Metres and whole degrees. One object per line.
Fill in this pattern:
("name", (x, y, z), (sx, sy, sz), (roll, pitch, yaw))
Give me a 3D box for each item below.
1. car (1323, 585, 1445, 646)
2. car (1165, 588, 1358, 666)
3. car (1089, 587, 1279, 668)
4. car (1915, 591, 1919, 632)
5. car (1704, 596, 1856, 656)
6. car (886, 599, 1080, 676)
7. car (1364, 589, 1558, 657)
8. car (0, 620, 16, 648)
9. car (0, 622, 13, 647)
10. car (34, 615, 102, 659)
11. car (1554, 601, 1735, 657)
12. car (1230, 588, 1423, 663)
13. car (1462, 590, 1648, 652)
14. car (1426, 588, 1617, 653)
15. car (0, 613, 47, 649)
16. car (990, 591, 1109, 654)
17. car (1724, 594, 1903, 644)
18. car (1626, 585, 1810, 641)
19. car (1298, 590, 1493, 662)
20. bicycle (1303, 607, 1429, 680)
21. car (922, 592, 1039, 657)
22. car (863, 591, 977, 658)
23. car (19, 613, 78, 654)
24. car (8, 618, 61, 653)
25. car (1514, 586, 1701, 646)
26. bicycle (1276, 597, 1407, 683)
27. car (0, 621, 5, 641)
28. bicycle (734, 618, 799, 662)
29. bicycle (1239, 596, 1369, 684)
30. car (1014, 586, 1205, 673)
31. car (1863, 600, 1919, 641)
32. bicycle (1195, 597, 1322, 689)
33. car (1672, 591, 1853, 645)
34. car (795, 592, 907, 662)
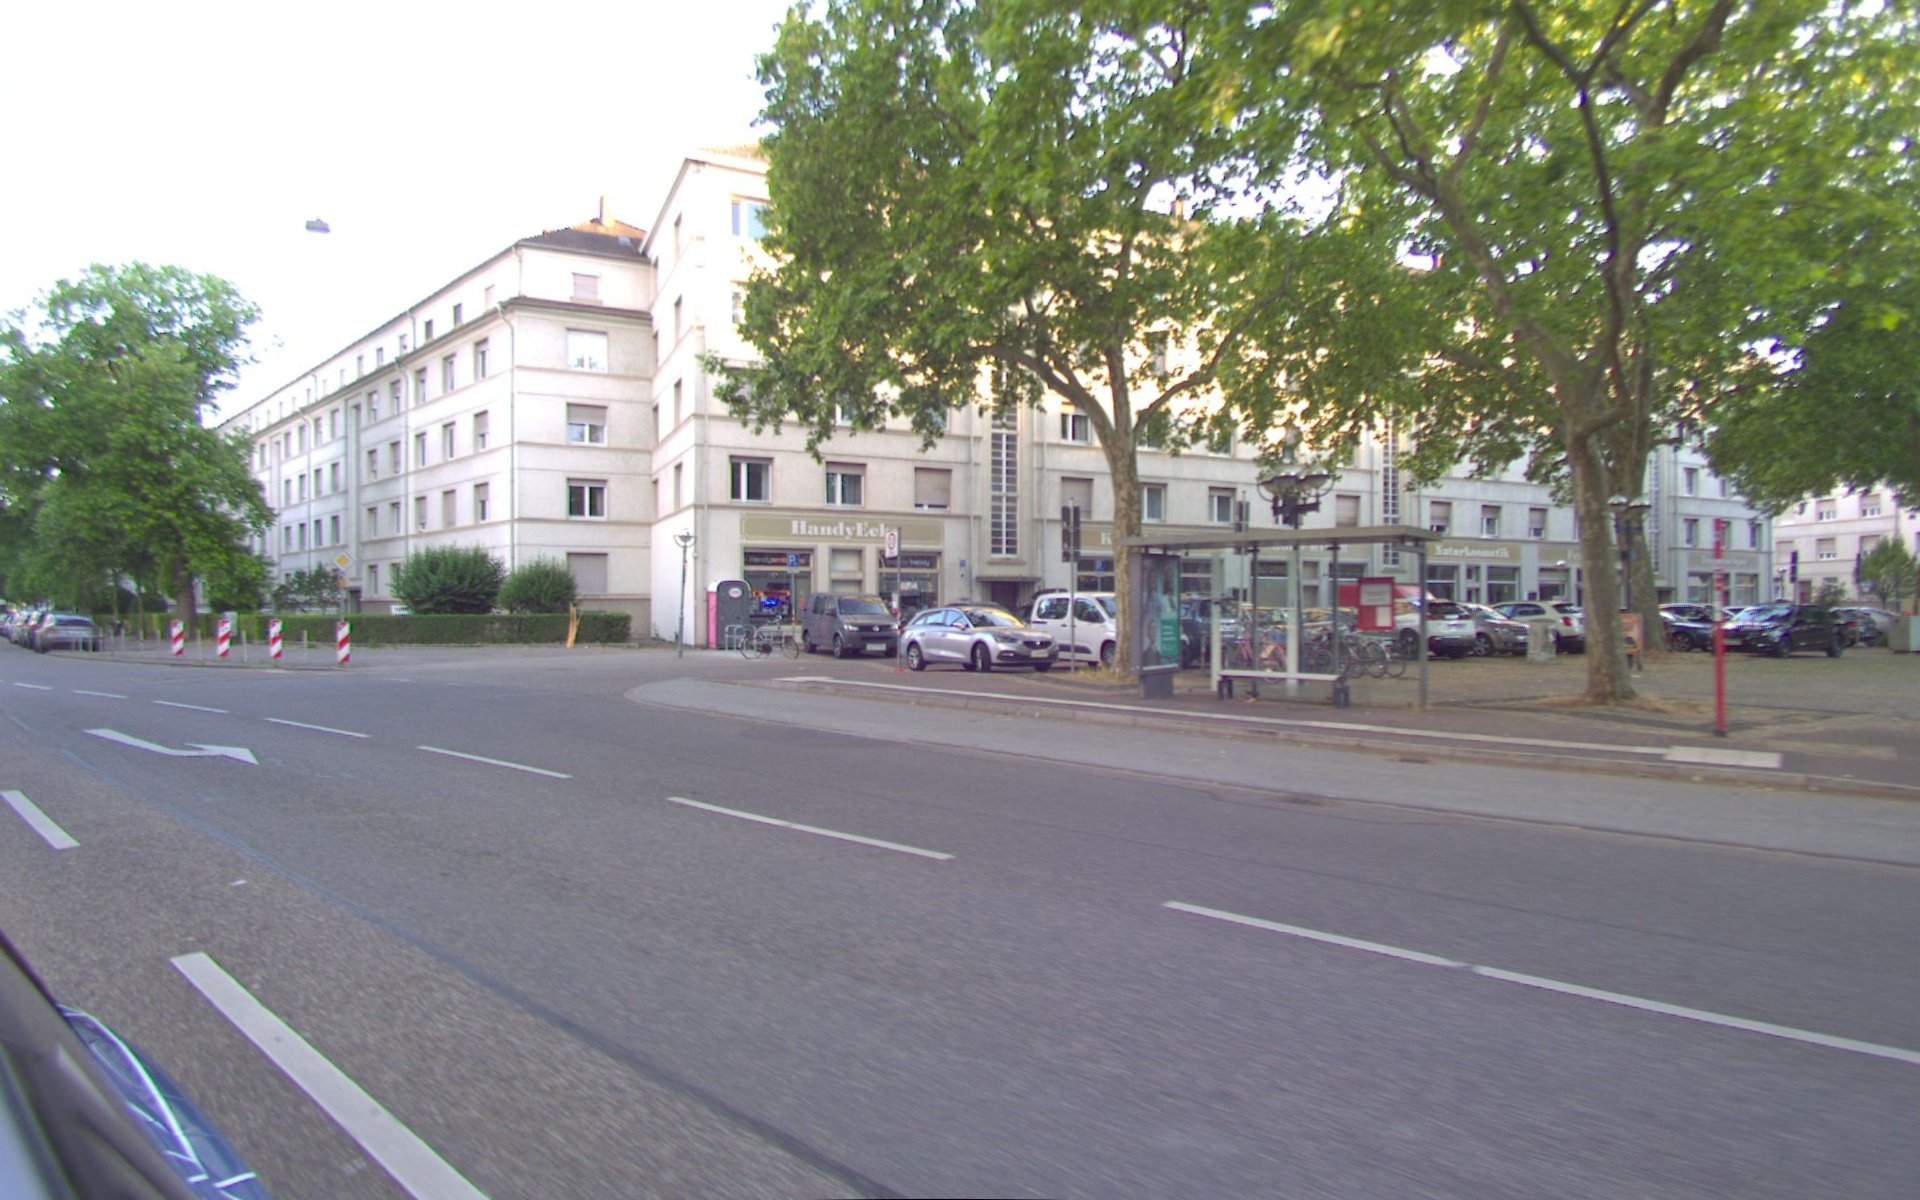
("car", (18.244, 0.607, 43.767), (1.965, 2.460, 4.656), (1, 0, -26))
("car", (7.499, 0.736, 25.717), (1.965, 1.795, 4.655), (1, -3, -28))
("car", (5.342, 0.720, 24.815), (1.965, 1.795, 4.655), (1, -3, -28))
("car", (44.956, 0.446, 44.050), (1.968, 1.824, 4.658), (2, -3, -38))
("car", (22.331, 0.673, 27.560), (3.696, 1.540, 1.680), (0, 0, -23))
("car", (0.381, 0.855, 22.493), (1.967, 1.515, 4.652), (2, -3, -35))
("car", (14.182, 0.710, 28.962), (1.965, 1.795, 4.655), (1, -3, -28))
("car", (-68.430, 2.430, 71.933), (1.866, 1.840, 4.263), (-1, 1, -44))
("car", (-74.683, 2.678, 78.429), (1.866, 1.879, 4.263), (-1, 1, -44))
("car", (-35.924, 1.452, 40.707), (1.867, 1.612, 4.003), (-1, 1, -44))
("car", (22.951, 1.005, 34.149), (1.965, 1.748, 4.655), (1, -3, -28))
("car", (9.554, 0.727, 26.798), (1.965, 1.795, 4.655), (1, -3, -28))
("car", (18.598, 0.728, 31.880), (1.965, 1.795, 4.655), (1, -3, -28))
("car", (16.755, 0.678, 30.460), (1.965, 1.795, 4.655), (1, -3, -28))
("car", (-51.274, 1.652, 55.359), (1.866, 1.787, 4.263), (-1, 1, -44))
("car", (3.006, 0.729, 35.198), (1.965, 1.970, 4.656), (1, 0, -26))
("car", (31.617, 0.764, 37.656), (1.965, 1.748, 4.655), (1, -3, -28))
("car", (26.327, 0.520, 35.327), (2.057, 1.795, 4.655), (1, -3, -28))
("car", (11.768, 0.761, 27.711), (1.965, 1.795, 4.655), (1, -3, -28))
("bicycle", (8.460, 0.870, 21.267), (0.680, 1.394, 2.754), (-1, 0, -24))
("car", (0.596, 0.762, 34.017), (1.965, 1.970, 4.656), (1, 0, -26))
("car", (-1.389, 0.740, 32.922), (1.965, 1.970, 4.656), (1, 0, -26))
("car", (-41.666, 1.490, 46.218), (1.866, 1.703, 4.263), (-1, 1, -44))
("car", (-46.939, 1.750, 51.273), (1.866, 1.612, 4.263), (-1, 1, -44))
("car", (20.766, 0.587, 32.689), (1.965, 1.795, 4.655), (1, -3, -28))
("bicycle", (7.748, 0.754, 20.753), (0.795, 1.626, 2.754), (-1, 0, -24))
("car", (-81.653, 2.644, 85.148), (1.866, 1.612, 4.263), (-1, 1, -44))
("bicycle", (-5.588, 1.154, 29.268), (1.776, 1.215, 0.649), (-1, 0, -16))
("bicycle", (6.808, 0.740, 20.238), (0.795, 1.626, 2.754), (-1, 0, -24))
("car", (3.296, 0.712, 23.359), (1.965, 1.795, 4.655), (1, -3, -28))
("car", (42.228, 0.886, 43.659), (1.968, 1.748, 4.648), (2, -3, -40))
("bicycle", (5.629, 0.759, 19.312), (0.680, 1.626, 2.754), (-1, 0, -24))
("car", (28.670, 0.707, 36.339), (1.965, 1.795, 4.655), (1, -3, -28))
("car", (-3.507, 0.781, 31.675), (1.965, 1.970, 4.656), (1, 0, -26))
